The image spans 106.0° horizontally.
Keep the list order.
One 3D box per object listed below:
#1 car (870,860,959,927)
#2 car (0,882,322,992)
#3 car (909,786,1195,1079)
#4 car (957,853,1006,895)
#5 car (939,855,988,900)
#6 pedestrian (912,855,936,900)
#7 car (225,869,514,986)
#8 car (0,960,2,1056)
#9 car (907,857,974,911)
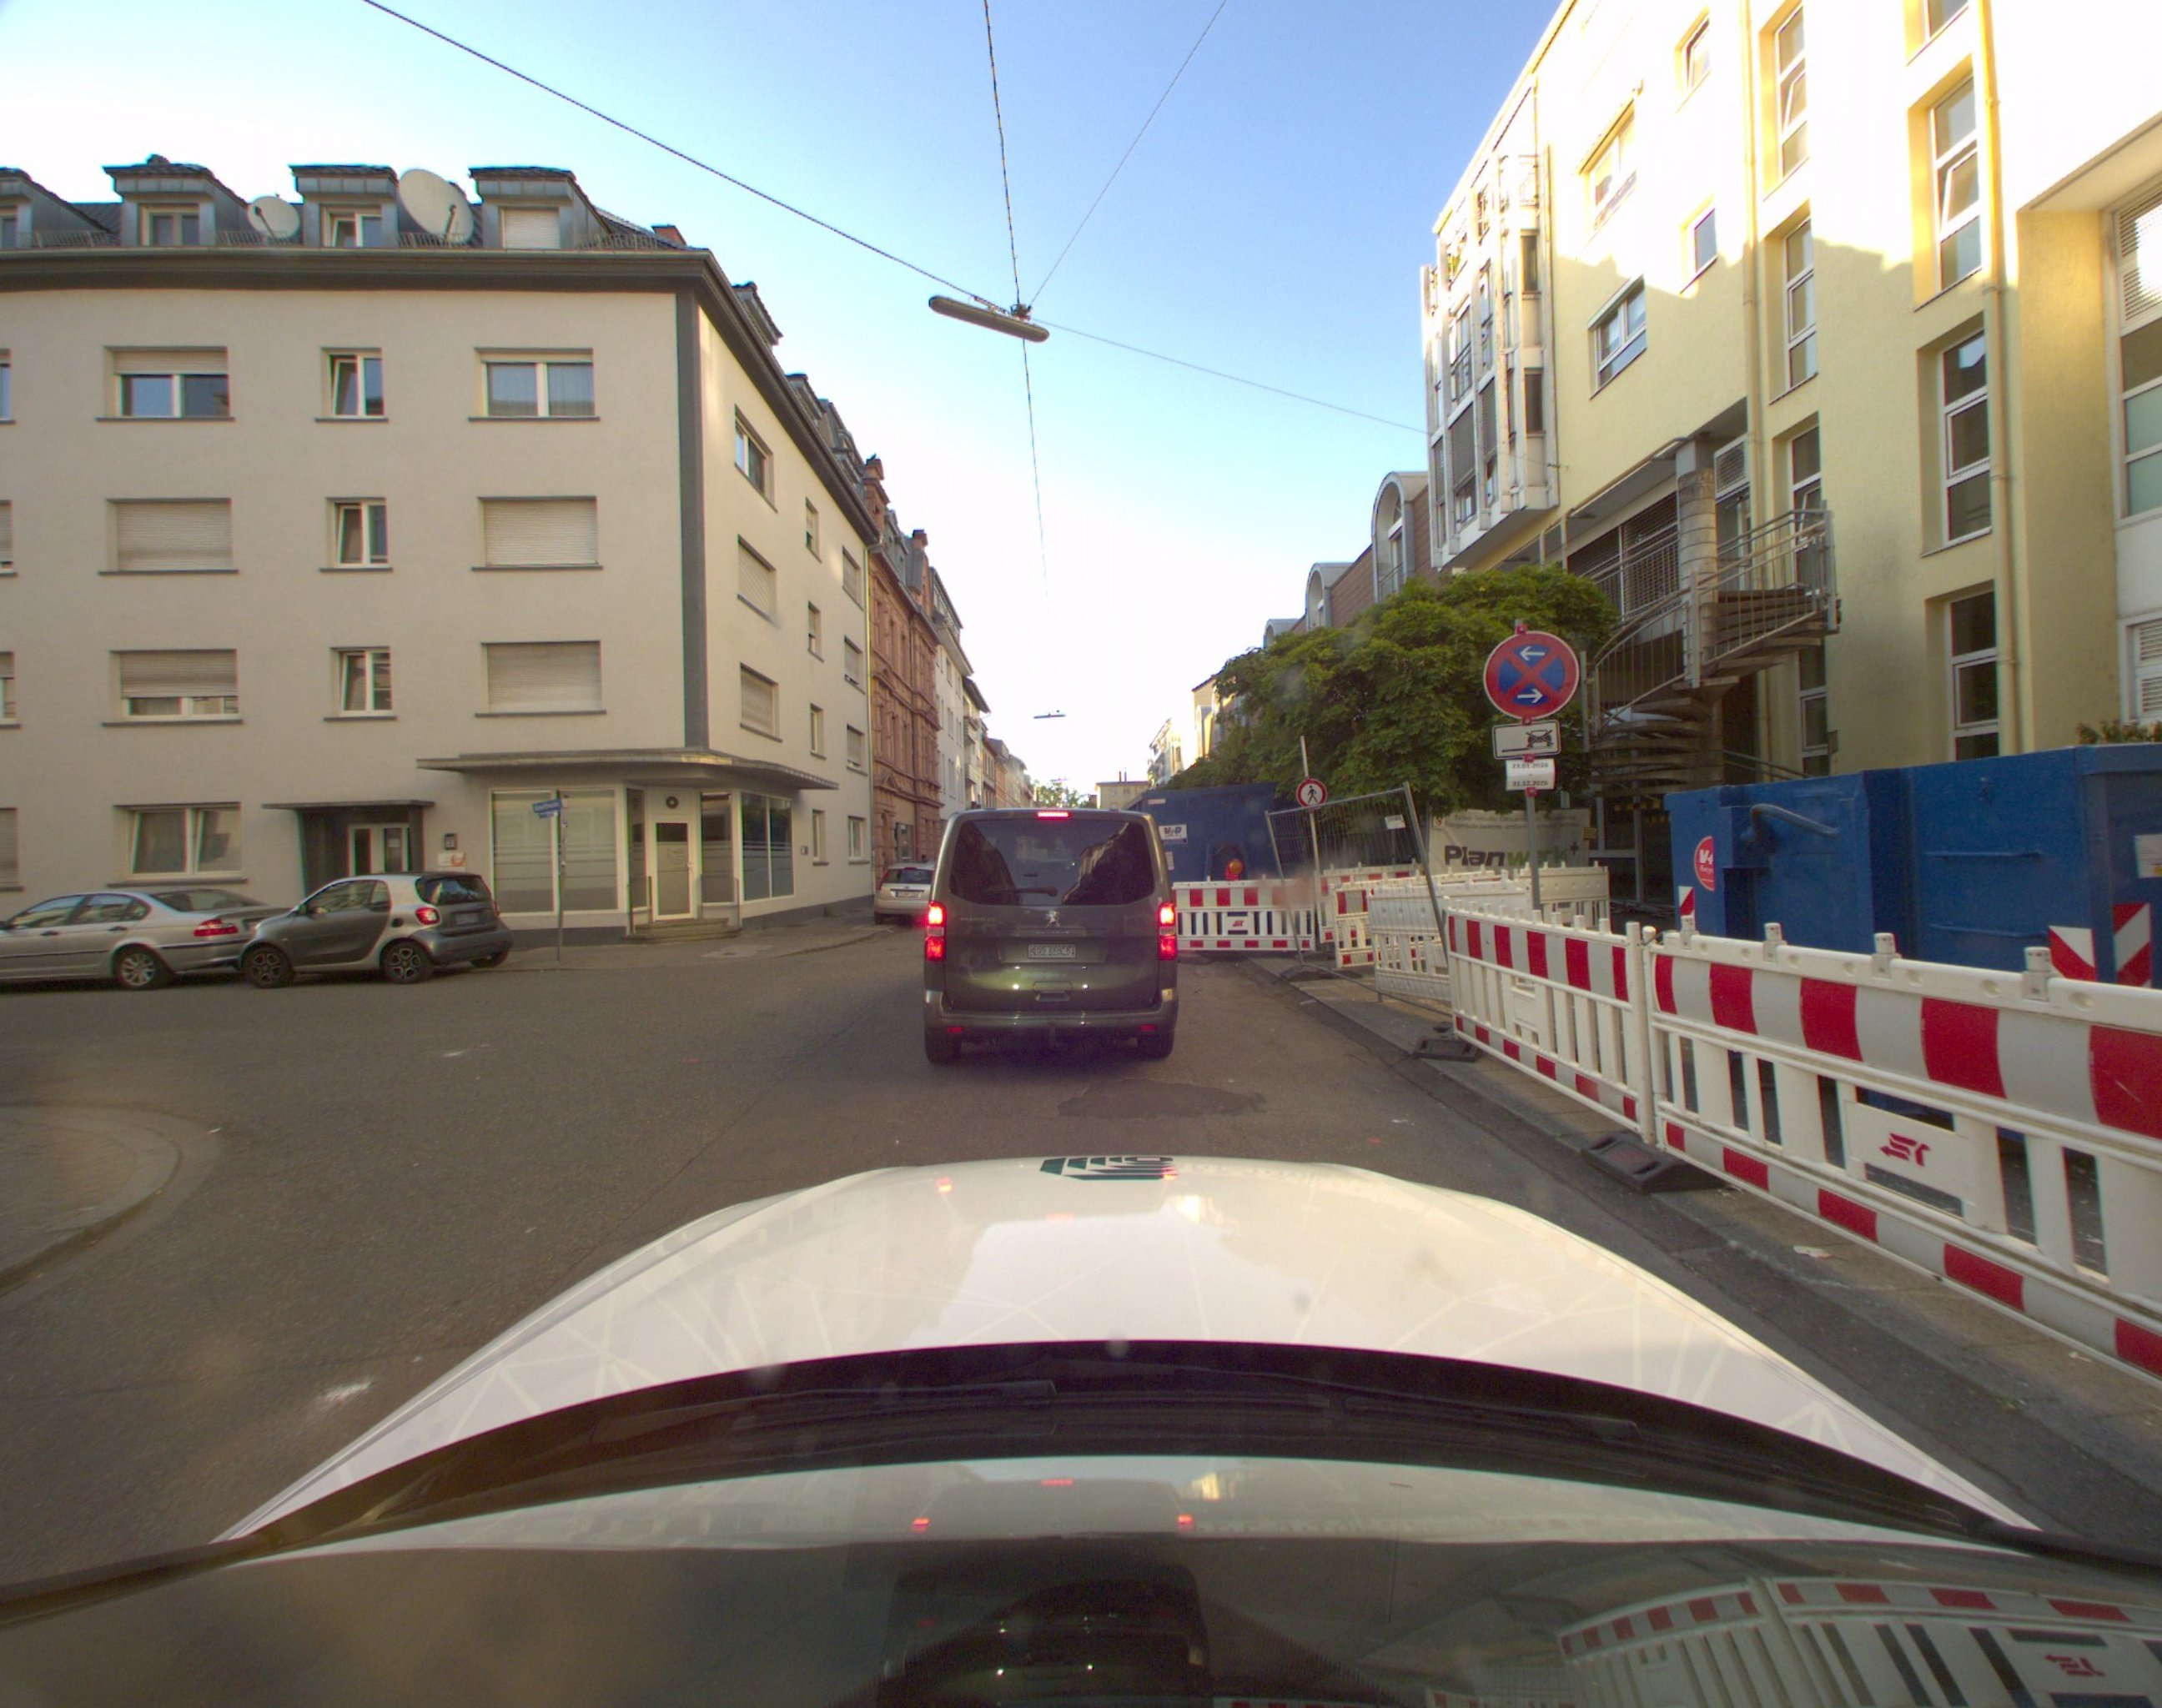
[{"bbox_3d":[-4.065,0.921,20.360,1.653,1.460,3.413,3,-1,-4],"label":"car"},{"bbox_3d":[-14.146,1.188,12.045,4.193,1.403,1.602,-1,0,-2],"label":"car"},{"bbox_3d":[-0.322,0.530,7.480,1.861,1.886,4.229,-1,-1,-4],"label":"car"},{"bbox_3d":[-4.409,0.876,36.420,1.888,1.720,3.748,3,-1,-4],"label":"car"},{"bbox_3d":[-4.682,0.917,32.778,1.663,1.666,3.087,3,-1,-4],"label":"car"},{"bbox_3d":[-5.893,0.876,30.609,0.739,1.664,0.702,-2,0,-5],"label":"pedestrian"},{"bbox_3d":[-10.226,1.017,11.876,2.778,1.540,1.593,0,0,-1],"label":"car"},{"bbox_3d":[-11.097,1.074,6.001,3.659,1.451,1.726,-2,0,-5],"label":"car"},{"bbox_3d":[-4.350,0.914,25.681,1.653,1.525,3.413,3,-1,-4],"label":"car"}]
